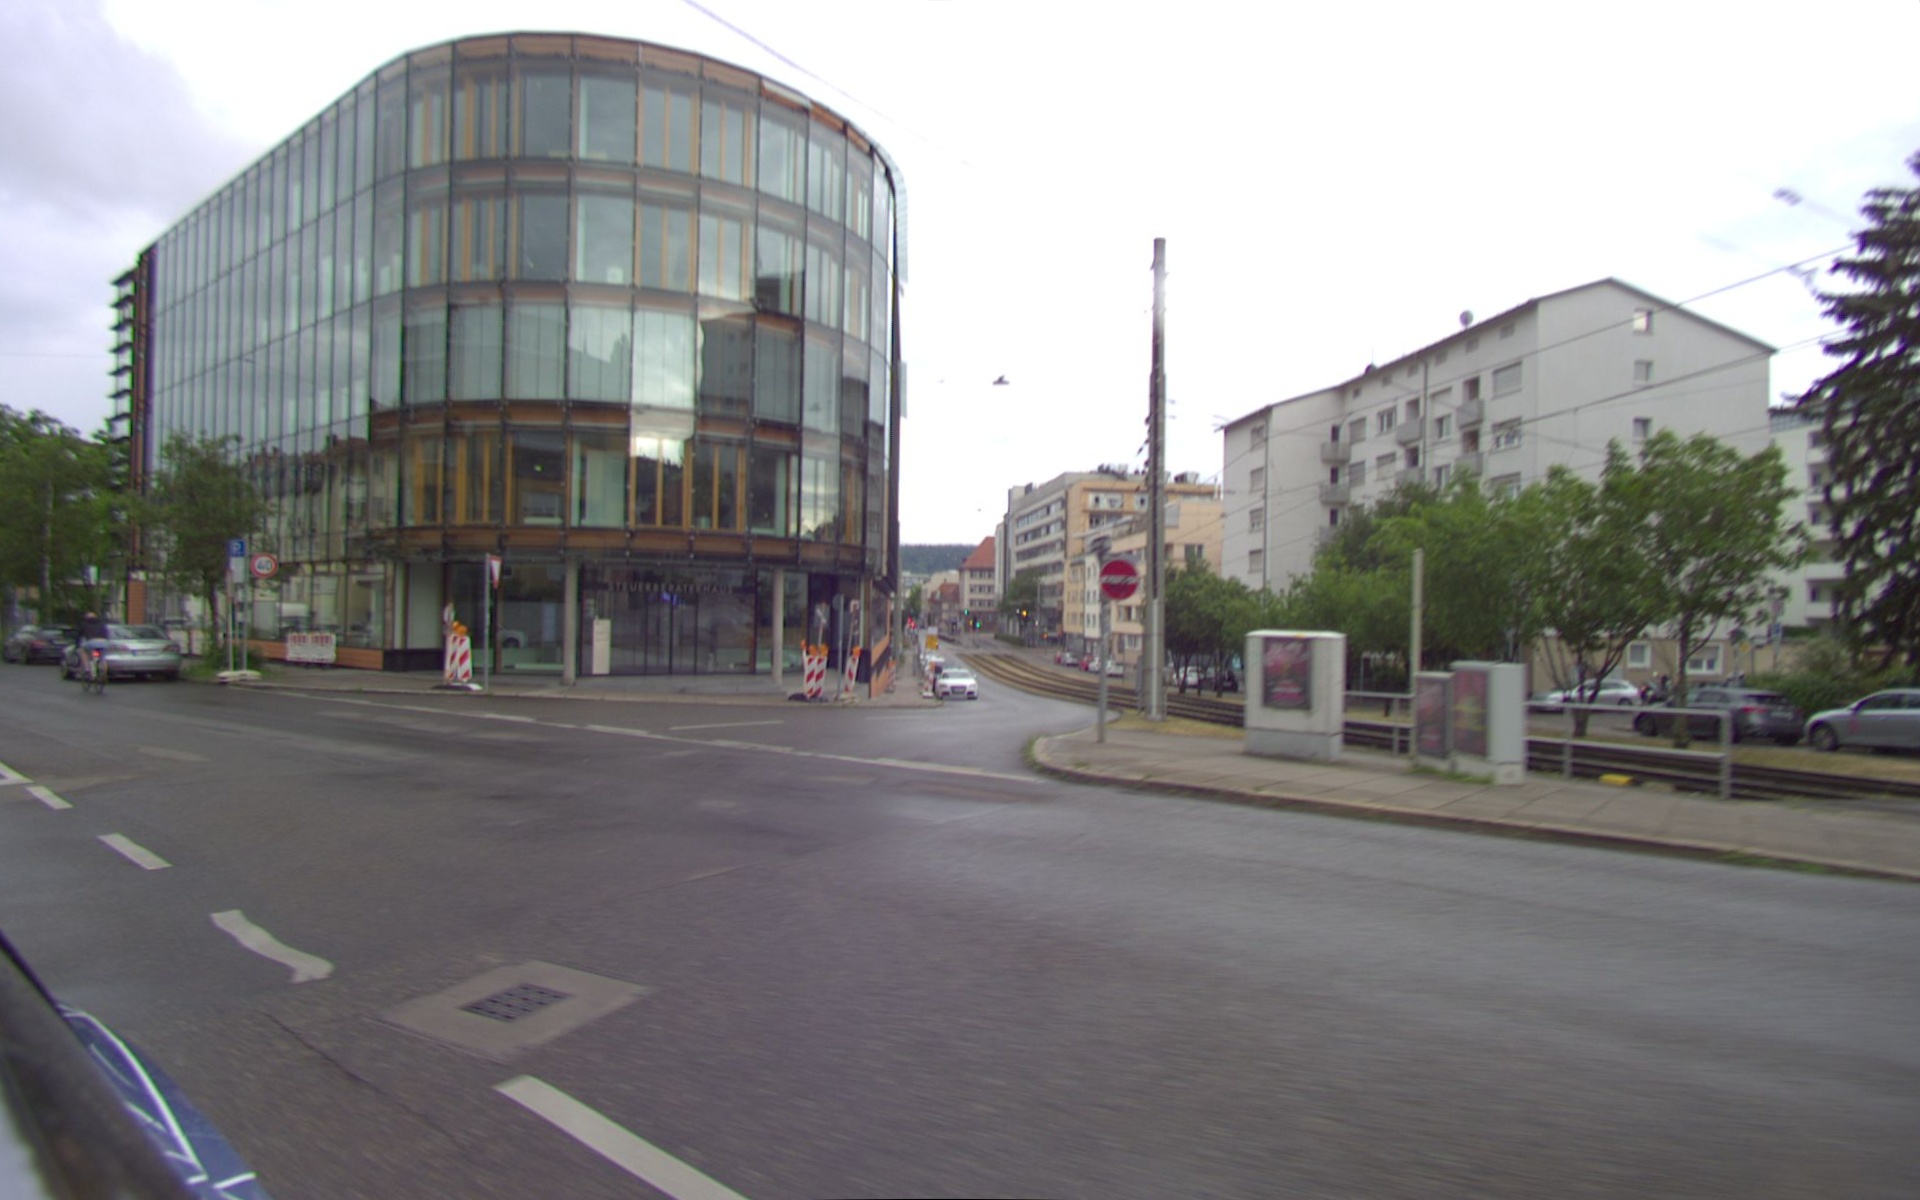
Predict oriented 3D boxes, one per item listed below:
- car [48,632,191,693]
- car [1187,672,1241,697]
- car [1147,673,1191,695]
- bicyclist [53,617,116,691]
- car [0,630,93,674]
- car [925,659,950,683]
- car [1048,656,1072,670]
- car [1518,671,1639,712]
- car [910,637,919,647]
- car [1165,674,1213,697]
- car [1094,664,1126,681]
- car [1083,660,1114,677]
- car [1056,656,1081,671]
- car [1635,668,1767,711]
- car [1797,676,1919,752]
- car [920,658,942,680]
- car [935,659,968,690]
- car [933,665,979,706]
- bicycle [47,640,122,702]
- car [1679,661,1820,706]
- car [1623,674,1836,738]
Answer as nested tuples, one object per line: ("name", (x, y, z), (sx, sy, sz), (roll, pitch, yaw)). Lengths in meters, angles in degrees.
("car", (-21.683, 1.547, 26.051), (4.638, 1.405, 1.840), (-1, -2, 38))
("car", (16.359, 5.458, 65.390), (1.969, 1.520, 4.316), (0, -5, -6))
("car", (15.596, 6.295, 75.695), (1.969, 1.520, 4.316), (0, -5, -6))
("bicyclist", (-18.430, 1.117, 21.303), (1.139, 1.473, 0.816), (1, 0, 39))
("car", (-32.998, 1.830, 36.355), (4.320, 1.475, 1.708), (-1, -3, 35))
("car", (-1.775, 5.421, 77.917), (1.763, 1.520, 4.003), (1, 0, -3))
("car", (11.619, 7.356, 118.106), (1.969, 1.520, 4.316), (0, -5, -6))
("car", (26.858, 3.961, 44.017), (4.126, 1.574, 2.003), (1, 0, -7))
("car", (-9.836, 9.049, 218.349), (1.889, 1.763, 4.003), (1, 0, -3))
("car", (15.996, 6.017, 70.985), (1.969, 1.520, 4.316), (0, -5, -6))
("car", (13.851, 6.728, 93.664), (1.969, 1.520, 4.316), (0, -5, -6))
("car", (13.517, 6.745, 99.152), (1.969, 1.520, 4.706), (0, -5, -6))
("car", (12.131, 7.130, 113.256), (1.969, 1.520, 4.316), (0, -5, -6))
("car", (32.704, 3.933, 44.722), (4.513, 1.674, 2.003), (1, 0, -7))
("car", (20.815, 2.423, 21.618), (1.969, 1.519, 4.316), (0, -4, -6))
("car", (-2.670, 6.286, 92.470), (1.889, 1.763, 4.003), (1, 0, -3))
("car", (-0.576, 4.689, 63.297), (1.889, 1.763, 4.002), (1, -6, -3))
("car", (-0.218, 3.891, 46.299), (1.889, 1.507, 4.003), (1, 0, -3))
("bicycle", (-18.474, 1.471, 21.334), (2.125, 1.157, 0.816), (1, -1, 39))
("car", (28.980, 3.050, 37.199), (3.937, 1.454, 1.829), (1, 0, -7))
("car", (20.109, 2.776, 26.746), (1.969, 1.520, 4.316), (0, -5, -6))
